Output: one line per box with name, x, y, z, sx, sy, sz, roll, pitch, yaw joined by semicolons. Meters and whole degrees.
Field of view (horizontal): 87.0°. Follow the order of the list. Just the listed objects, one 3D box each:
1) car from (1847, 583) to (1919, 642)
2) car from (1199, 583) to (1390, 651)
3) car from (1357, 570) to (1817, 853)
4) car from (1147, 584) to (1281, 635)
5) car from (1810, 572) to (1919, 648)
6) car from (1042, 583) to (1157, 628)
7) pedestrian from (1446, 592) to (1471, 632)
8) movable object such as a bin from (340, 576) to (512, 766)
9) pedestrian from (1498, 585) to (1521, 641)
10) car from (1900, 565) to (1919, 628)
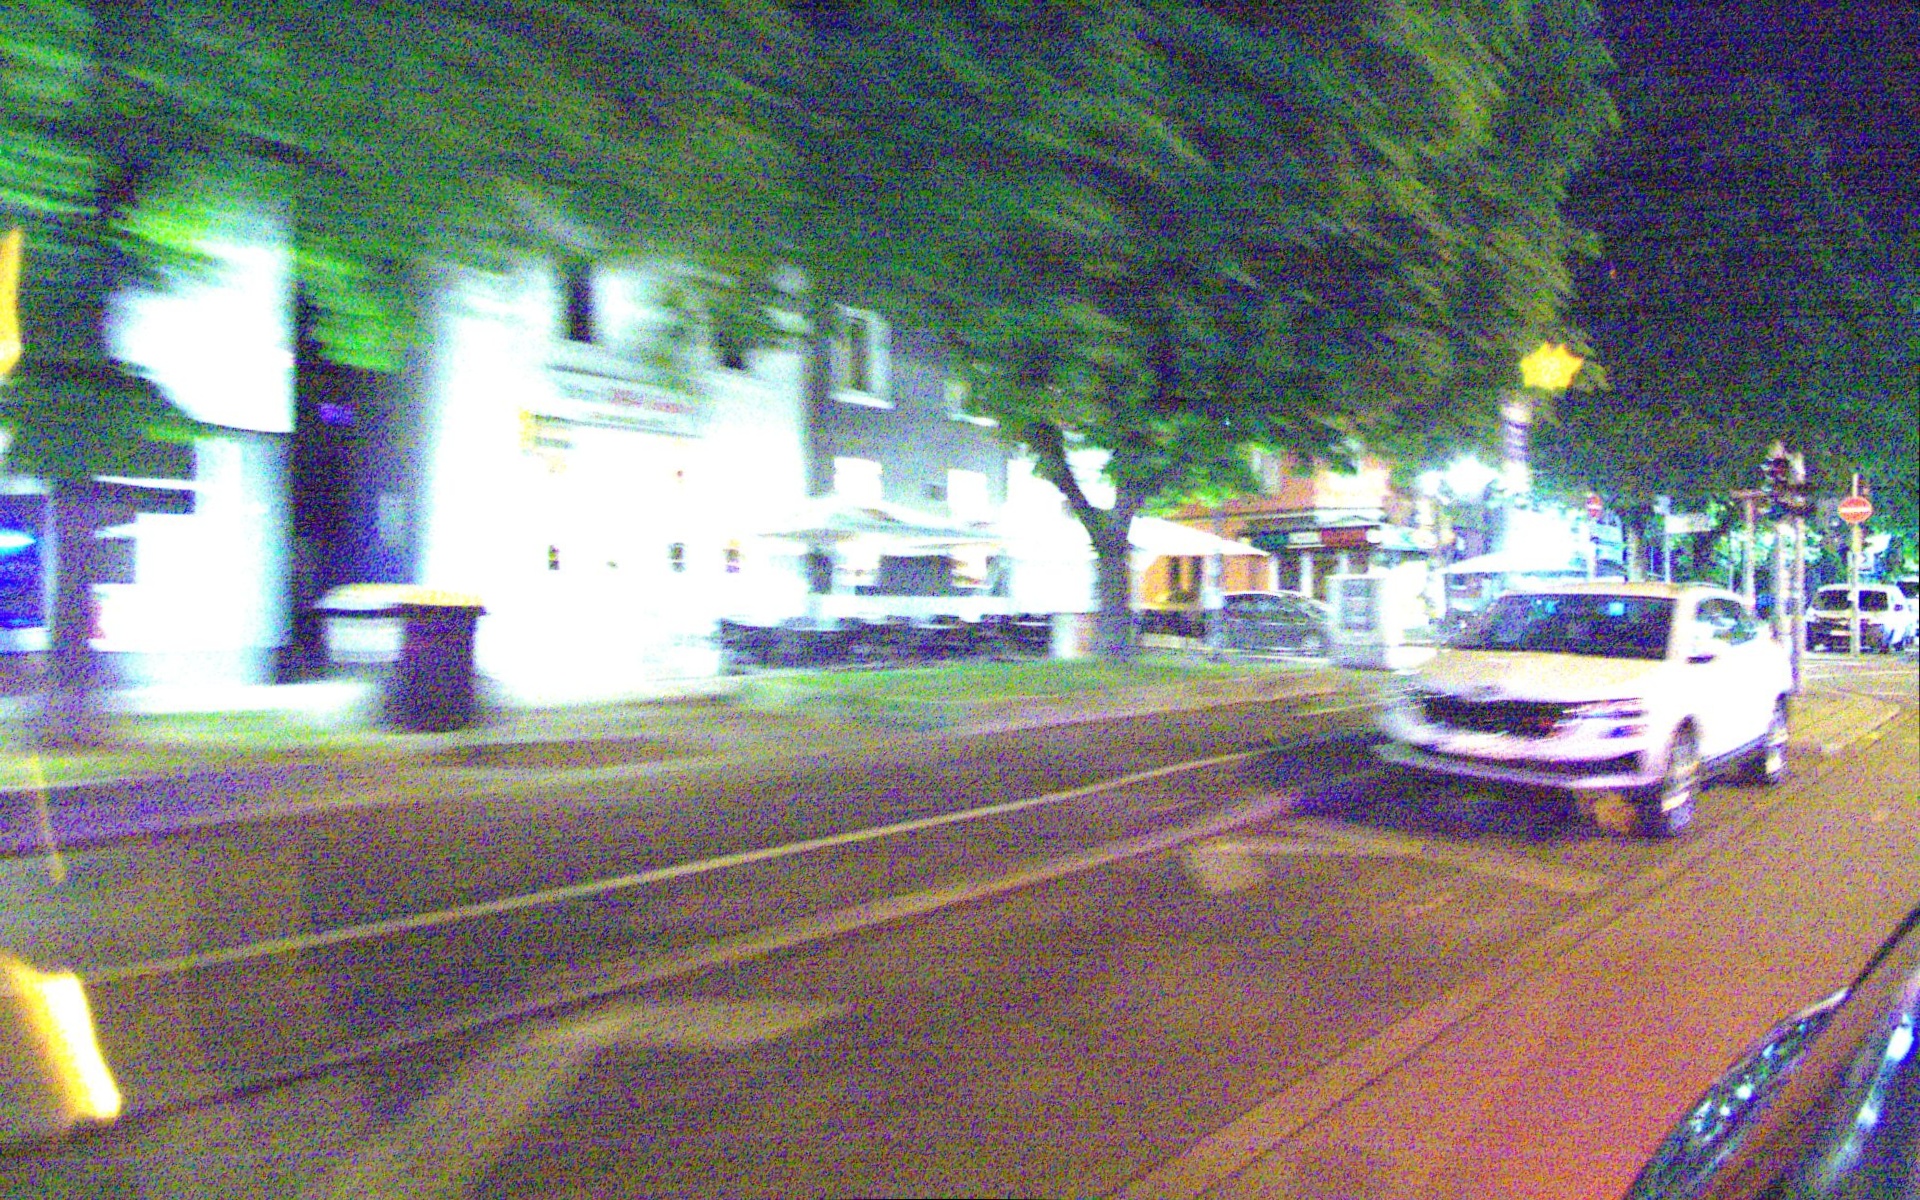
car;28.588;0.332;31.040;4.224;1.680;1.686;0;1;-43
car;8.398;0.367;25.709;1.772;1.550;4.322;-2;2;-41
car;4.907;0.595;7.677;4.142;1.556;1.774;0;2;-41
car;8.592;0.287;34.499;1.772;1.569;4.150;2;0;-41
car;24.140;0.228;26.882;4.501;1.845;1.791;0;1;-42
car;5.222;0.182;38.286;1.772;1.569;4.150;2;0;-41
pedestrian;15.821;0.378;32.104;0.518;1.280;0.503;0;0;-13
movable object such as a bin;-4.309;0.517;8.151;0.976;1.388;1.162;0;-1;-42
pedestrian;15.938;0.361;29.348;0.364;1.608;0.482;0;0;-5
car;37.863;-0.147;39.108;2.135;2.356;5.069;1;1;44
